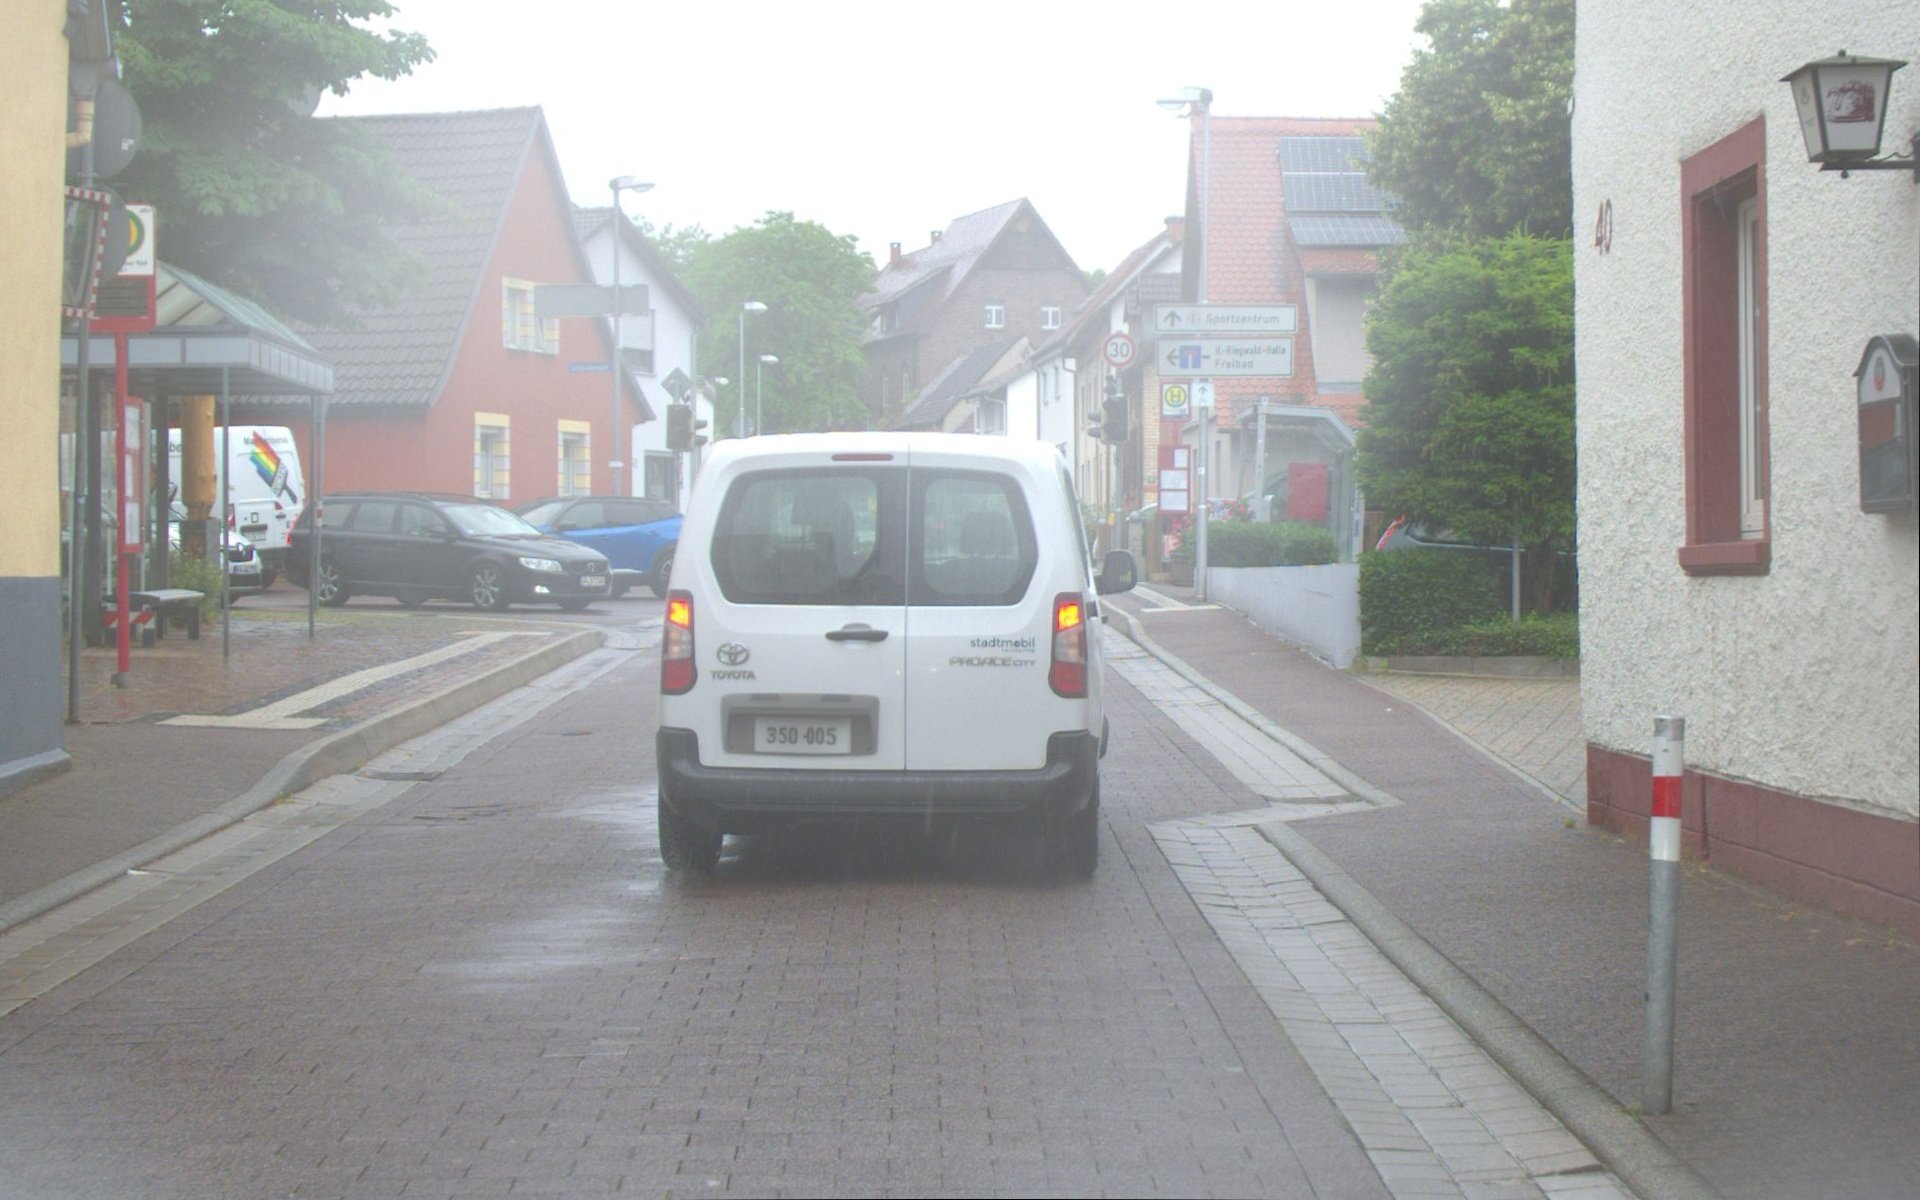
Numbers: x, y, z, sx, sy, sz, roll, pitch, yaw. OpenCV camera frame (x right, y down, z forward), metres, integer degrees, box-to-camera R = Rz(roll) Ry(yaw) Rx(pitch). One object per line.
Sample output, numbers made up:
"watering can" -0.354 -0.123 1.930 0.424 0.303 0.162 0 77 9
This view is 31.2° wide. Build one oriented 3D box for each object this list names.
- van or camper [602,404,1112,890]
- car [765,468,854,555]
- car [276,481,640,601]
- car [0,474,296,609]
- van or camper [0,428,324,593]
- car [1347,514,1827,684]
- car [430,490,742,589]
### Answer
"van or camper" -0.483 0.149 15.216 1.943 1.845 4.001 -1 1 -3
"car" -3.161 -1.875 72.400 1.812 1.773 4.018 0 2 -2
"car" -6.496 -0.765 44.480 4.305 1.472 1.848 0 2 24
"car" -11.052 -0.794 44.547 4.451 1.544 1.881 3 3 20
"van or camper" -12.492 -1.379 52.453 5.149 2.427 2.208 1 2 25
"car" 5.812 -0.041 31.756 4.231 1.475 1.694 1 1 15
"car" -5.431 -0.868 50.116 3.988 1.368 2.110 -1 0 -38
